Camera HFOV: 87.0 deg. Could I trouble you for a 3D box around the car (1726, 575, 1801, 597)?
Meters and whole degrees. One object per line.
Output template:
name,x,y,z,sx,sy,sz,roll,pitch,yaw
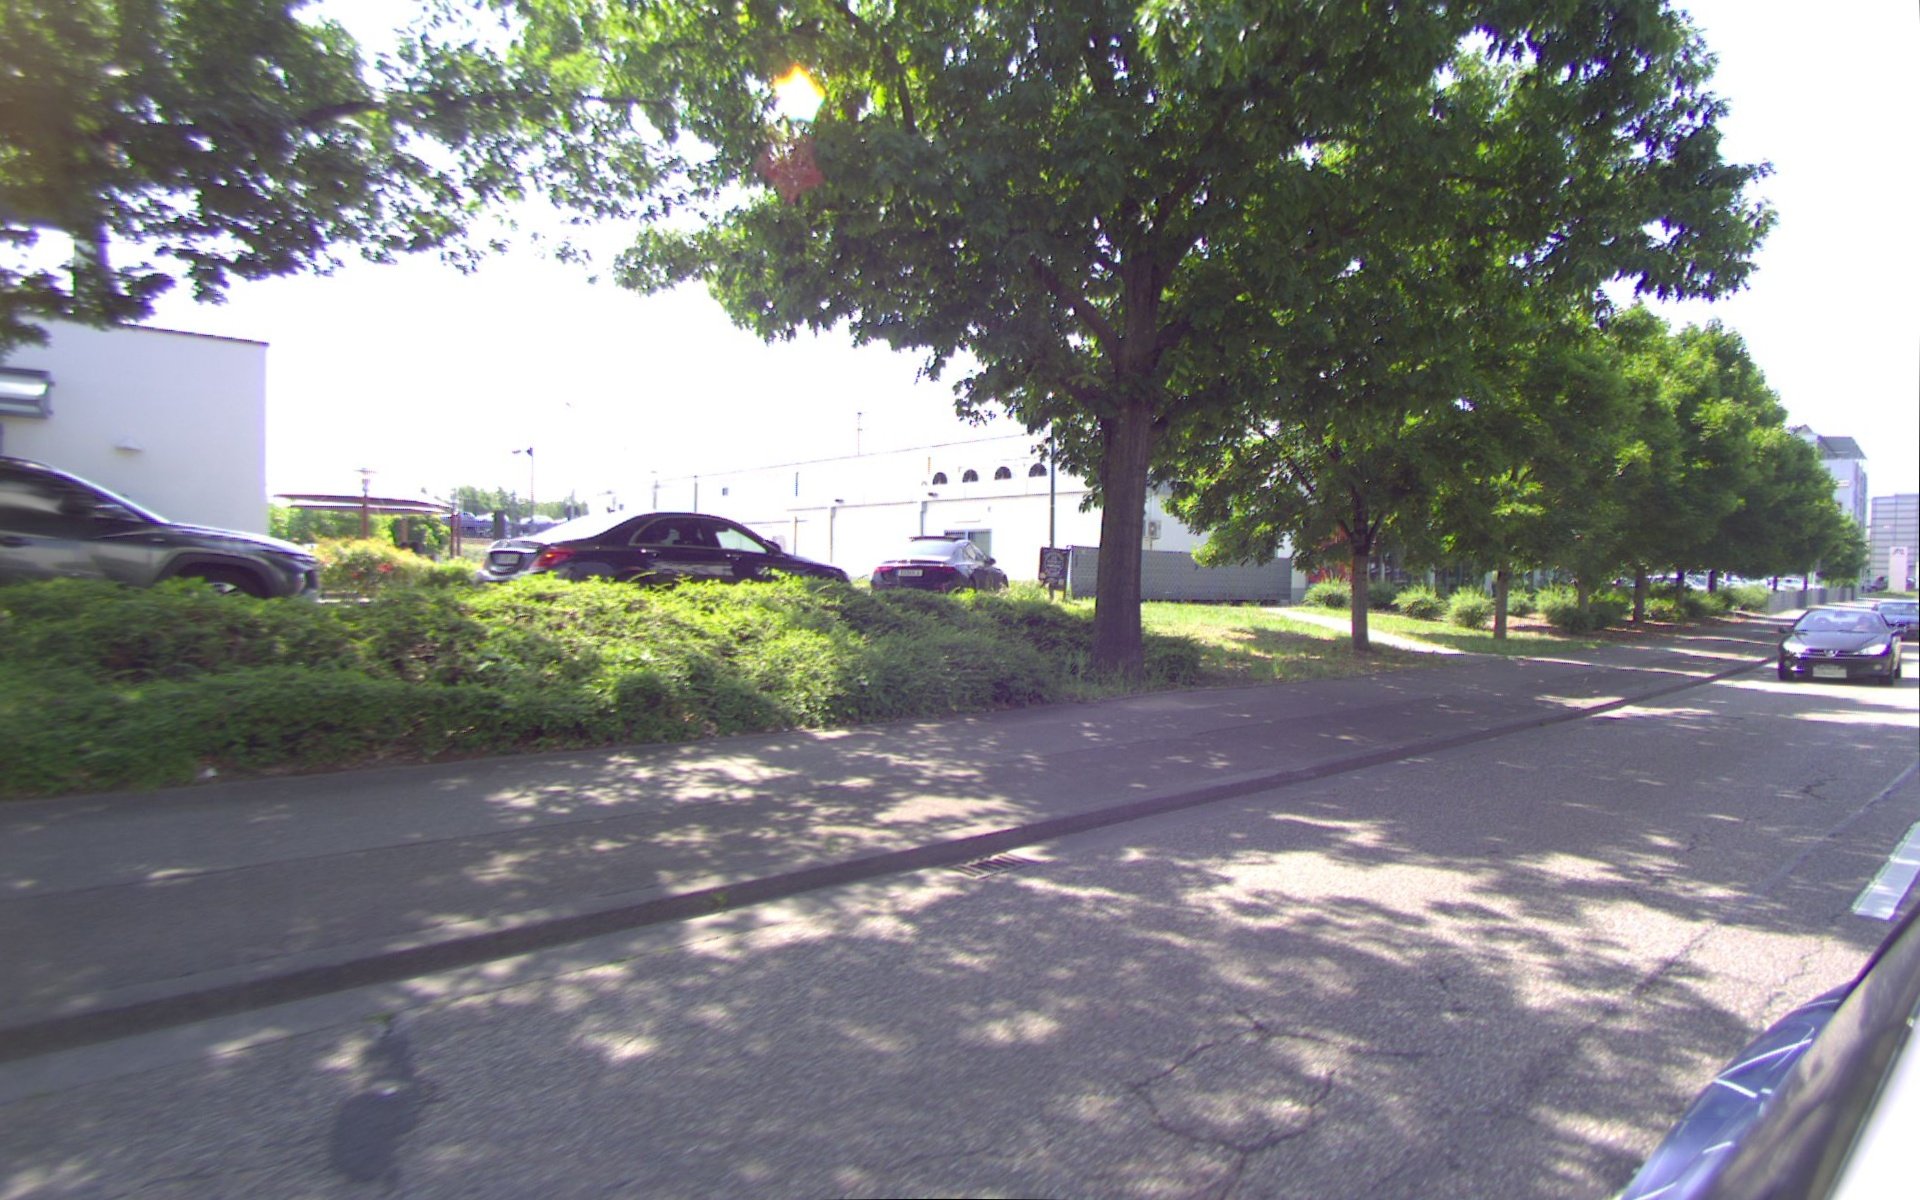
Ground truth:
car,57.947,-1.040,73.017,1.669,1.439,4.002,0,3,-43

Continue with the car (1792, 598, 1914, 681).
car,17.230,0.683,19.486,1.637,1.373,3.445,1,2,43

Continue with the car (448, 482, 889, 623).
car,-3.512,-0.558,13.355,1.902,1.469,5.522,1,2,39

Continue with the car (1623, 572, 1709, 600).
car,42.052,-0.847,60.324,3.986,1.616,1.798,0,1,44

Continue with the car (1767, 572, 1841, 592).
car,70.587,-1.545,84.662,1.670,1.523,4.581,0,3,-43

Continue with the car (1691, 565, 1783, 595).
car,52.556,-1.381,68.516,1.796,1.948,4.624,0,2,-42

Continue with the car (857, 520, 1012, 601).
car,-0.362,-0.809,20.342,1.924,1.368,4.697,3,3,14

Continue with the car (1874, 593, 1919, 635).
car,33.191,0.457,35.319,3.891,1.340,1.708,-1,0,-45

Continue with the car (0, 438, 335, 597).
car,-8.034,-0.669,8.938,4.124,1.269,1.622,-1,0,-39
